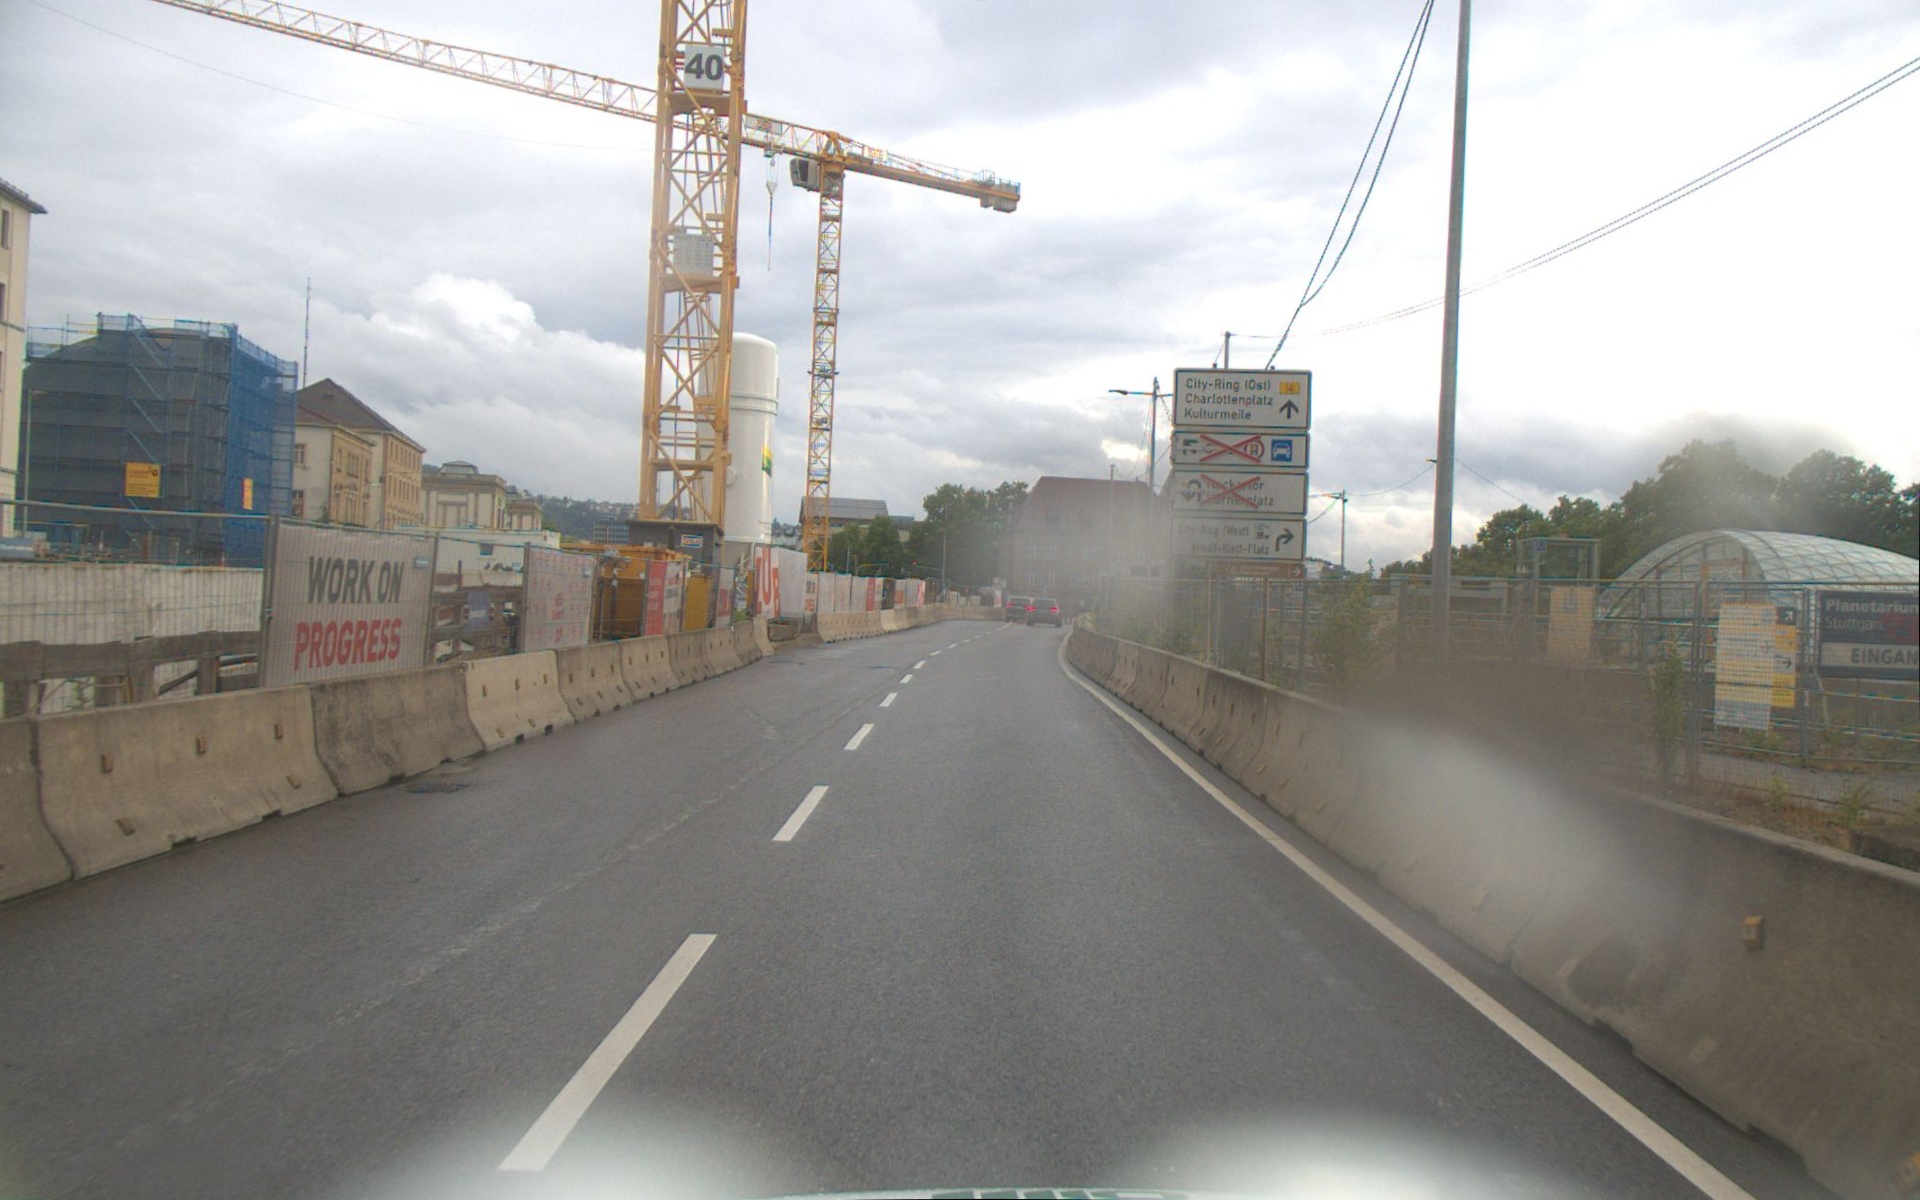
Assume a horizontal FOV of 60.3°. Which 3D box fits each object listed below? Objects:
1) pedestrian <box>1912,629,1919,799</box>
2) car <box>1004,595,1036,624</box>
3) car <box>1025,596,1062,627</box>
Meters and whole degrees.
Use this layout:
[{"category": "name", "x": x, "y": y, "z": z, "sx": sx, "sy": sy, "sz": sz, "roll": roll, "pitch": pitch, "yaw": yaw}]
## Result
[{"category": "pedestrian", "x": 10.186, "y": 1.151, "z": 16.422, "sx": 1.008, "sy": 1.687, "sz": 0.891, "roll": 2, "pitch": -2, "yaw": -29}, {"category": "car", "x": 3.883, "y": 0.624, "z": 106.345, "sx": 1.824, "sy": 1.689, "sz": 4.658, "roll": 3, "pitch": 0, "yaw": 4}, {"category": "car", "x": 4.429, "y": 0.633, "z": 87.351, "sx": 1.824, "sy": 1.458, "sz": 4.657, "roll": 3, "pitch": -1, "yaw": 3}]
